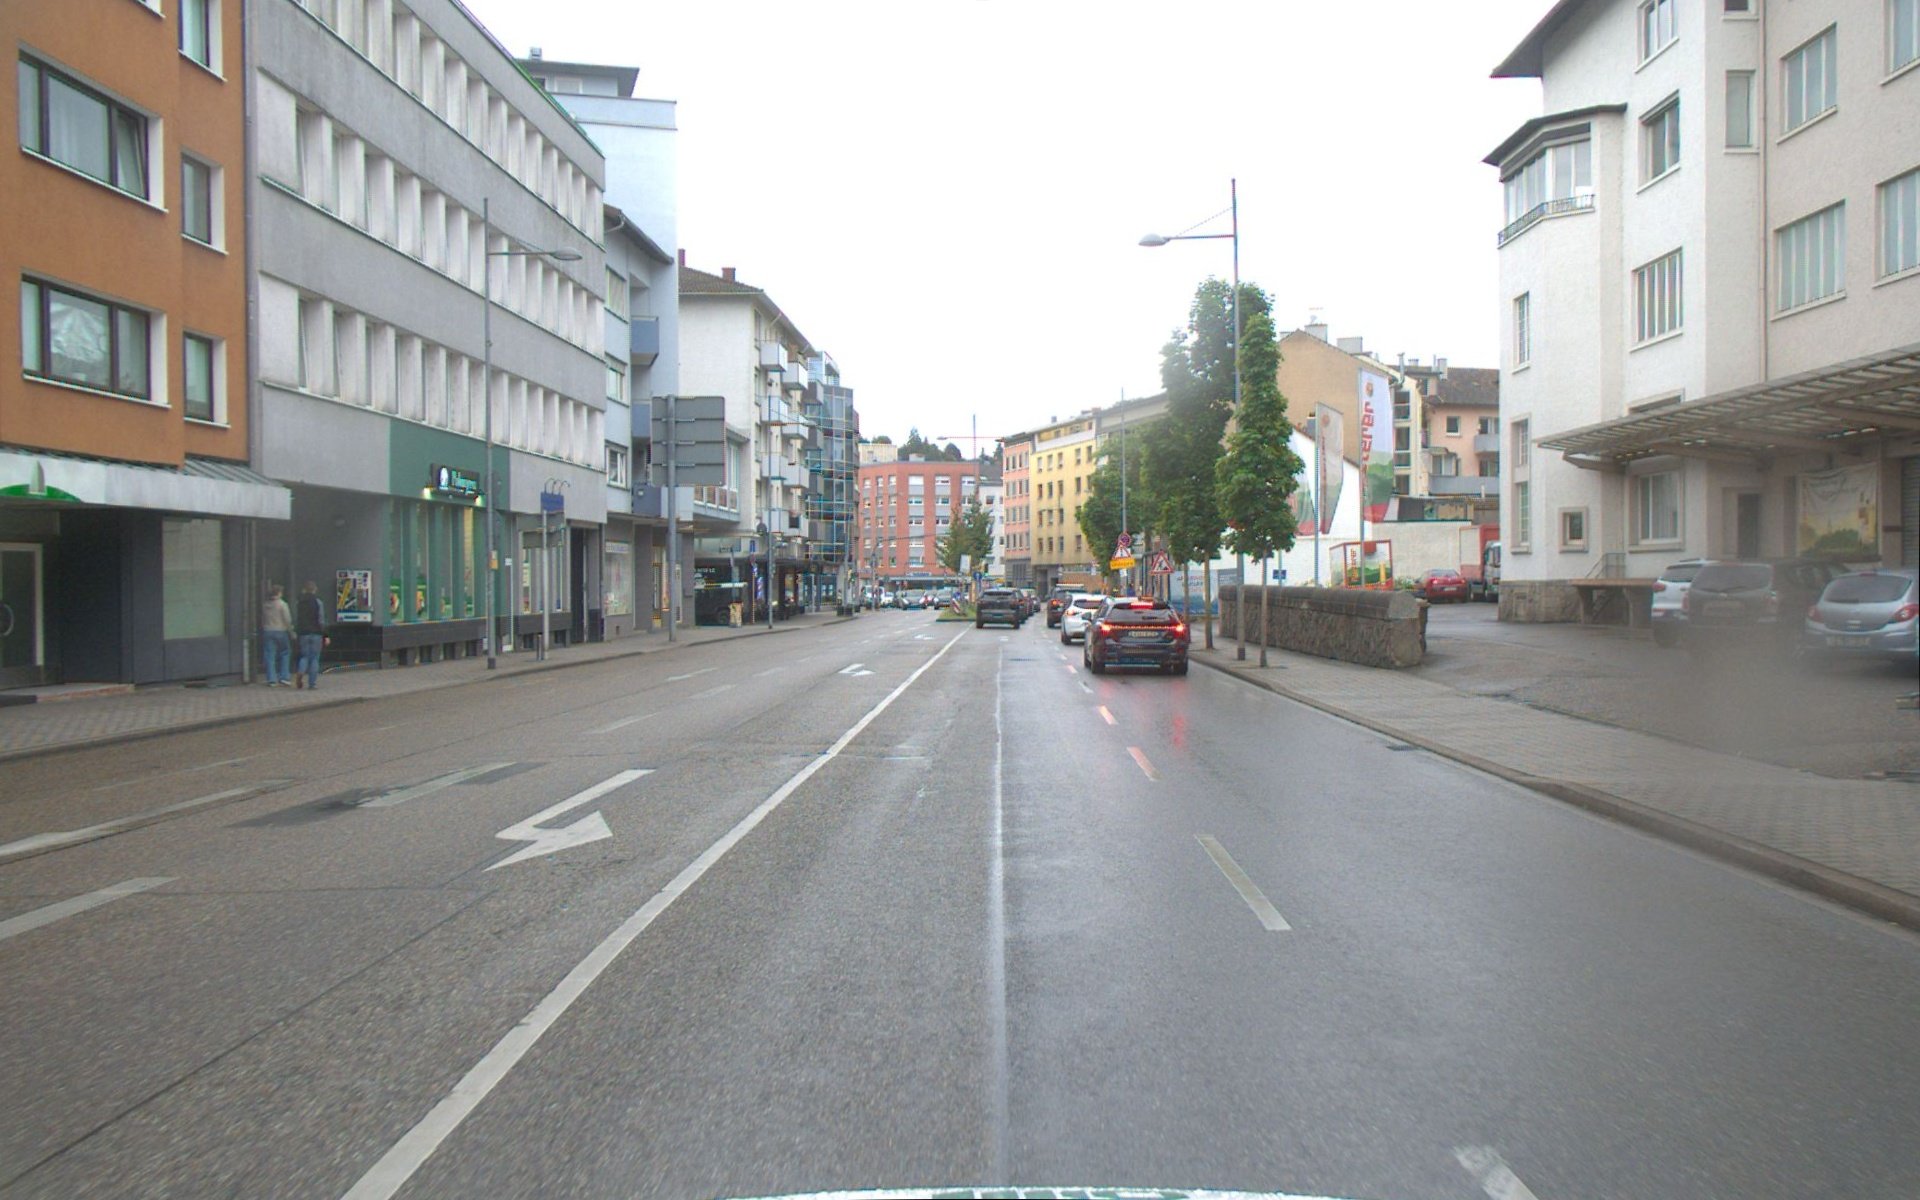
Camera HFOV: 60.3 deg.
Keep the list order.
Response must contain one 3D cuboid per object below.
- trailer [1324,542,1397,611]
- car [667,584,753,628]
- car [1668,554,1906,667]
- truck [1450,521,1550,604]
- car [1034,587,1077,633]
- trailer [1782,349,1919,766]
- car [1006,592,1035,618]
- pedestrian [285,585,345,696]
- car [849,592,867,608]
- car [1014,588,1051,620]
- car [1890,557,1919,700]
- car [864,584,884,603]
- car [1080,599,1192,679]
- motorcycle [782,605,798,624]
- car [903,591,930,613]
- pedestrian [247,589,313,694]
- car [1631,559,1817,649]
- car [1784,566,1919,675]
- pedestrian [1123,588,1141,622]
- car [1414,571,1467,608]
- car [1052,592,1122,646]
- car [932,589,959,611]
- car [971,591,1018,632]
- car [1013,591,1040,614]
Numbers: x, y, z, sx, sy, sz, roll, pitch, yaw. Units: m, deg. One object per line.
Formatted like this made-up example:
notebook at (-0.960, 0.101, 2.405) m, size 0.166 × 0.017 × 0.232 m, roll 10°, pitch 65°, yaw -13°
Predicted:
trailer at (17.207, -1.021, 71.276) m, size 2.082 × 2.763 × 5.394 m, roll -3°, pitch 1°, yaw 4°
car at (-12.220, 0.291, 80.992) m, size 3.880 × 2.070 × 1.581 m, roll -1°, pitch 0°, yaw 2°
car at (13.428, 0.126, 26.797) m, size 3.953 × 1.610 × 1.751 m, roll -3°, pitch 2°, yaw -34°
truck at (22.939, -1.541, 70.572) m, size 2.576 × 3.272 × 6.934 m, roll -2°, pitch 0°, yaw 6°
car at (4.126, 0.391, 71.251) m, size 1.792 × 1.837 × 3.721 m, roll 1°, pitch 1°, yaw 4°
trailer at (9.274, -0.387, 11.843) m, size 2.594 × 3.232 × 5.673 m, roll -2°, pitch 0°, yaw -24°
car at (3.514, 0.277, 96.980) m, size 1.607 × 1.405 × 3.348 m, roll -2°, pitch 0°, yaw 1°
pedestrian at (-10.865, 0.669, 27.888) m, size 0.563 × 1.819 × 0.827 m, roll 3°, pitch 0°, yaw 2°
car at (-9.754, -0.004, 158.255) m, size 1.428 × 1.455 × 3.363 m, roll 1°, pitch 1°, yaw -9°
car at (3.415, 0.190, 78.145) m, size 1.607 × 1.405 × 3.348 m, roll -2°, pitch 0°, yaw 1°
car at (13.369, 0.262, 20.702) m, size 4.243 × 1.677 × 1.838 m, roll -3°, pitch 2°, yaw -43°
car at (-7.674, -0.556, 146.742) m, size 1.520 × 1.598 × 3.343 m, roll 1°, pitch 0°, yaw -7°
car at (3.398, 0.710, 32.693) m, size 1.753 × 1.427 × 4.634 m, roll 1°, pitch 0°, yaw 1°
motorcycle at (-9.317, 0.780, 90.839) m, size 0.514 × 1.013 × 2.137 m, roll 1°, pitch 0°, yaw 3°
car at (-3.326, 0.144, 127.040) m, size 1.672 × 1.493 × 4.831 m, roll -3°, pitch 0°, yaw 3°
pedestrian at (-11.485, 0.692, 27.956) m, size 0.617 × 1.704 × 0.908 m, roll 3°, pitch 0°, yaw 1°
car at (14.493, 0.045, 31.299) m, size 3.950 × 1.595 × 1.897 m, roll -1°, pitch 1°, yaw -43°
car at (13.799, 0.247, 24.153) m, size 3.800 × 1.425 × 1.622 m, roll -3°, pitch 0°, yaw -38°
pedestrian at (8.985, 0.256, 86.371) m, size 0.774 × 1.786 × 0.872 m, roll -2°, pitch 0°, yaw 15°
car at (20.292, -0.428, 69.977) m, size 1.556 × 1.482 × 3.267 m, roll -2°, pitch 0°, yaw 6°
car at (3.722, 0.531, 49.087) m, size 1.631 × 1.420 × 3.866 m, roll 2°, pitch 1°, yaw -2°
car at (-1.066, -0.008, 122.524) m, size 1.685 × 1.448 × 4.166 m, roll -3°, pitch 0°, yaw 2°
car at (1.453, 0.455, 68.374) m, size 1.785 × 1.628 × 3.720 m, roll 1°, pitch 0°, yaw 3°
car at (4.278, 0.136, 106.921) m, size 1.607 × 1.405 × 3.348 m, roll -2°, pitch 0°, yaw 1°
